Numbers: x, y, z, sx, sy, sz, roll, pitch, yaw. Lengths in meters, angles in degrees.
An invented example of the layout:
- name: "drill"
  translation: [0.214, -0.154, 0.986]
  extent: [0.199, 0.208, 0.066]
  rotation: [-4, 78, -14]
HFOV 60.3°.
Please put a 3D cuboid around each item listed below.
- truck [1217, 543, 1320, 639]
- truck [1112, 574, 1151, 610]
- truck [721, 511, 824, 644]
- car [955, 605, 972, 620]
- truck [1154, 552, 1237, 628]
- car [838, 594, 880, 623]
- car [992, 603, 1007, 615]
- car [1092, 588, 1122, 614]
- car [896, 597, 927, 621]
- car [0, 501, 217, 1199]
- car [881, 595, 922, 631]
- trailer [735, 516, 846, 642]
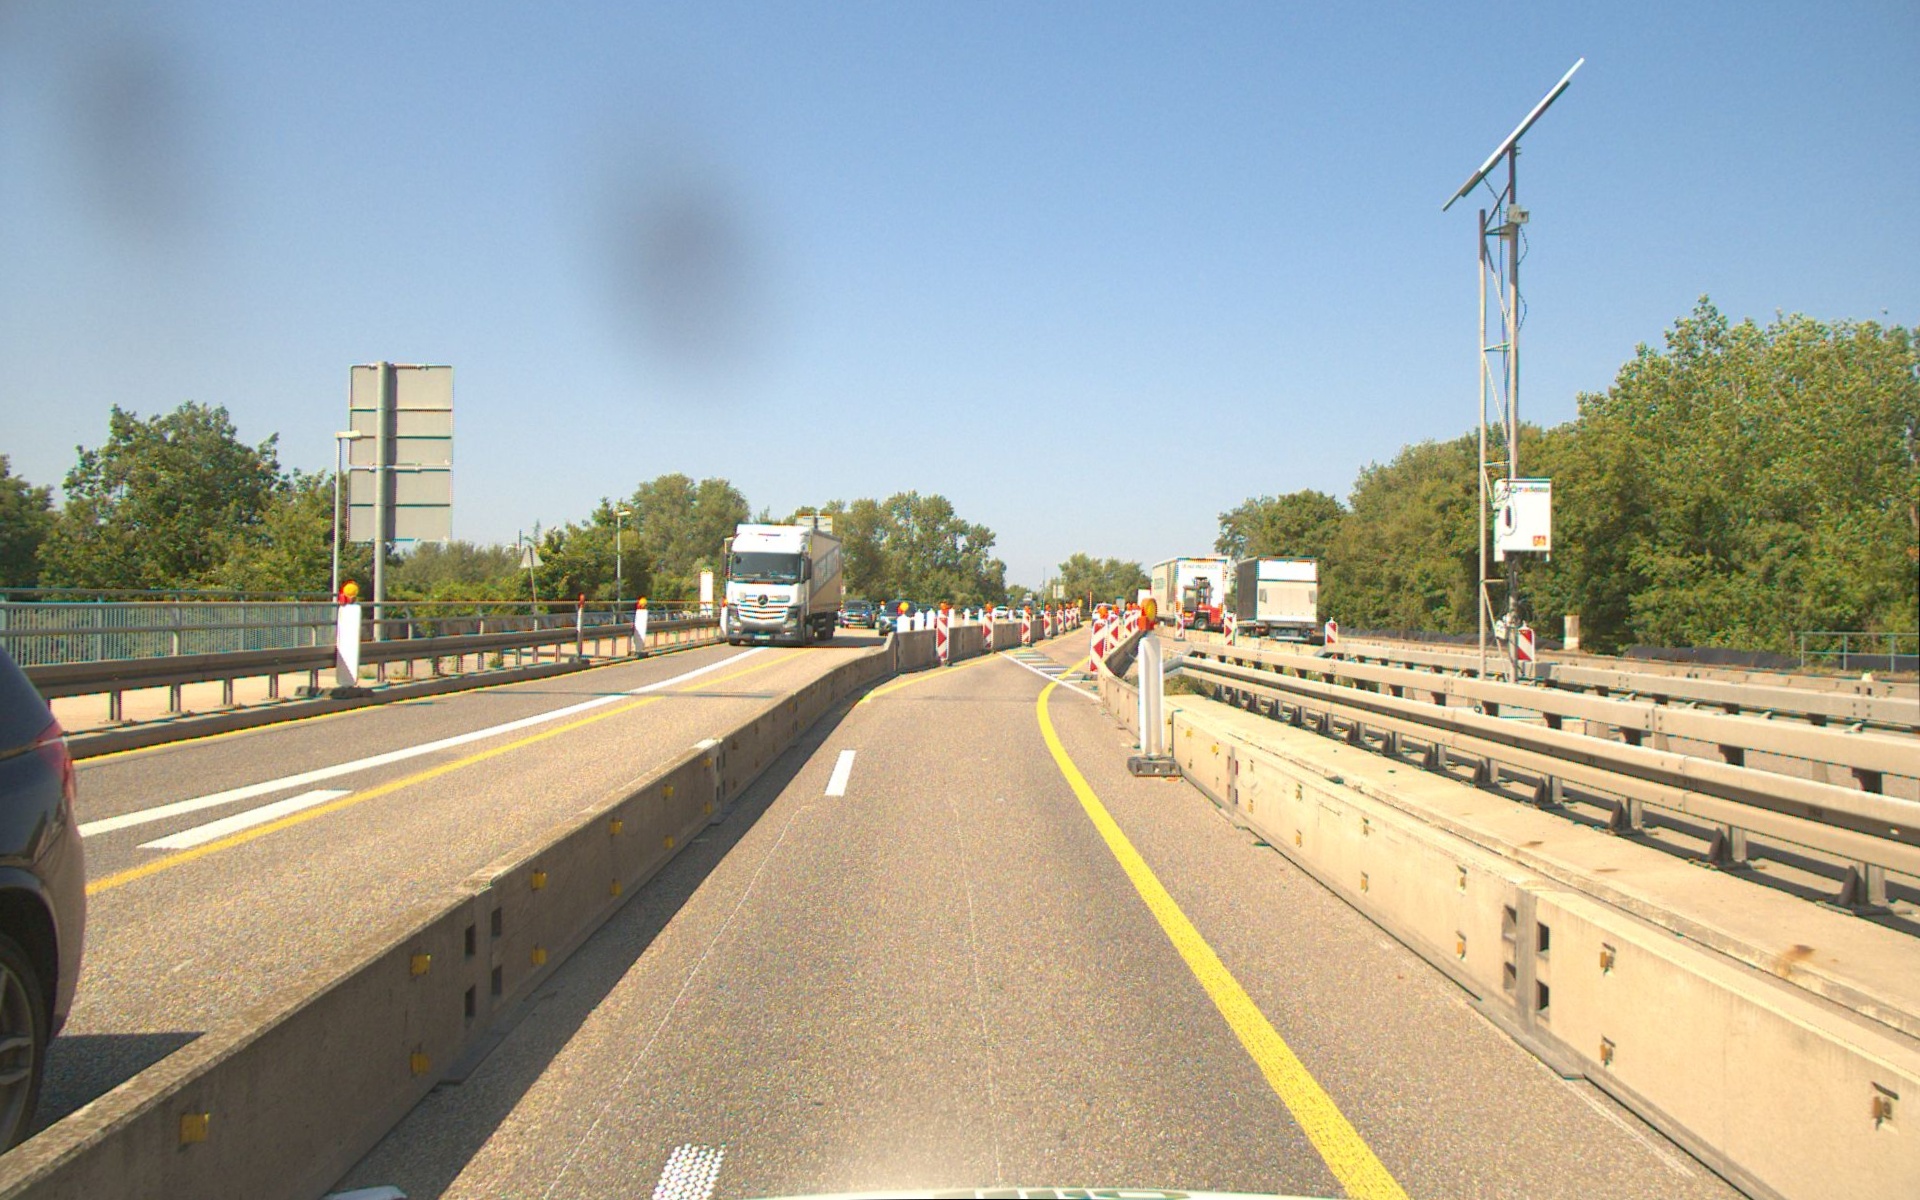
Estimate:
- name: "truck"
  translation: [11.988, -0.348, 64.824]
  extent: [2.580, 3.487, 7.232]
  rotation: [2, 0, 0]
- name: "truck"
  translation: [21.625, -0.981, 209.046]
  extent: [4.132, 4.341, 10.243]
  rotation: [0, 0, 2]
- name: "truck"
  translation: [-6.229, -0.711, 55.839]
  extent: [2.693, 4.209, 6.415]
  rotation: [0, 0, 0]
- name: "car"
  translation: [0.388, 1.313, 177.780]
  extent: [1.701, 1.502, 4.647]
  rotation: [0, 0, 2]
- name: "truck"
  translation: [12.425, -0.492, 87.789]
  extent: [3.319, 3.840, 7.232]
  rotation: [0, 0, 0]
- name: "car"
  translation: [-5.663, 0.470, 93.433]
  extent: [1.892, 1.534, 4.470]
  rotation: [0, 0, 3]
- name: "car"
  translation: [4.842, 1.118, 201.715]
  extent: [1.683, 1.421, 4.521]
  rotation: [2, 0, 3]
- name: "car"
  translation: [10.467, 0.068, 117.940]
  extent: [1.779, 1.807, 4.000]
  rotation: [0, 0, 0]
- name: "car"
  translation: [-2.862, 0.548, 98.993]
  extent: [1.654, 1.400, 4.273]
  rotation: [0, 0, 1]
- name: "car"
  translation: [-3.145, 0.598, 2.632]
  extent: [1.825, 1.660, 4.566]
  rotation: [0, 0, 0]
- name: "car"
  translation: [-2.685, 0.582, 76.097]
  extent: [1.753, 1.596, 3.872]
  rotation: [0, 0, 0]
- name: "trailer"
  translation: [-6.178, -0.702, 62.700]
  extent: [2.704, 4.209, 14.530]
  rotation: [0, 0, 0]
